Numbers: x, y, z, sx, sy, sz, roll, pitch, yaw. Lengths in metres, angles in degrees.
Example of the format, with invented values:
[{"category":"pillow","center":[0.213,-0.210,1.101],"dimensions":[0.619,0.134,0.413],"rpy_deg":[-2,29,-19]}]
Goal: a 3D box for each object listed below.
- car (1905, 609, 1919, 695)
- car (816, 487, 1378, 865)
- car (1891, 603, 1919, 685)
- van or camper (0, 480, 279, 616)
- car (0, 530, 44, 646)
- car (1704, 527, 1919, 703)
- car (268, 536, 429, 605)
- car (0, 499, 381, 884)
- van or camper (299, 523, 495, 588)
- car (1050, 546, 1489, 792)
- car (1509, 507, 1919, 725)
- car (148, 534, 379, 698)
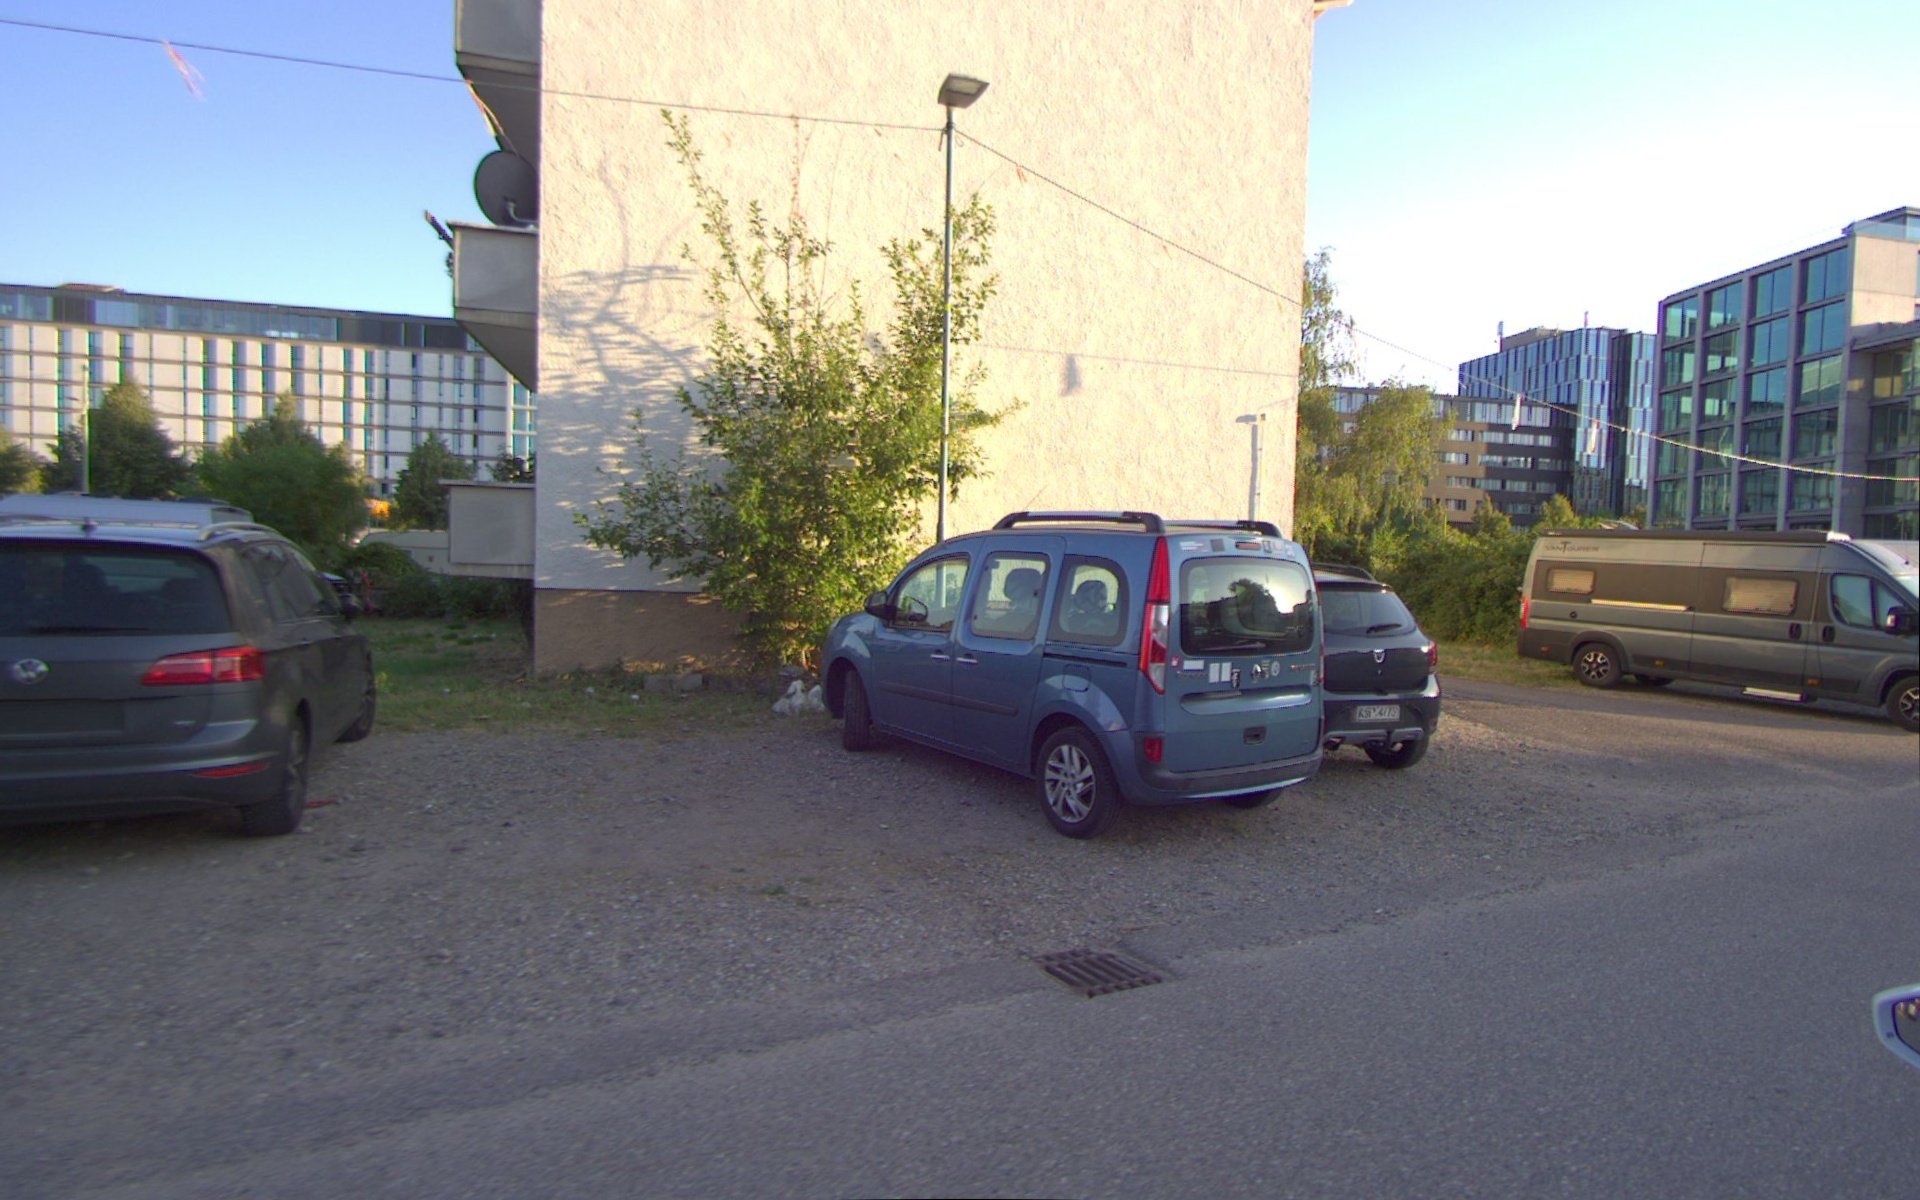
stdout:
[{"category":"car","center":[18.613,1.017,16.622],"dimensions":[1.764,1.527,3.916],"rpy_deg":[2,2,-23]},{"category":"car","center":[0.676,0.271,7.215],"dimensions":[1.731,1.937,3.897],"rpy_deg":[0,4,-36]},{"category":"car","center":[20.495,0.979,18.939],"dimensions":[1.724,1.612,3.915],"rpy_deg":[3,1,-23]},{"category":"van or camper","center":[-16.922,-1.001,19.675],"dimensions":[5.587,2.425,1.844],"rpy_deg":[2,1,-14]},{"category":"car","center":[-15.699,-0.225,13.764],"dimensions":[4.243,1.653,1.844],"rpy_deg":[2,1,-14]},{"category":"car","center":[15.947,0.242,16.324],"dimensions":[2.023,2.750,5.806],"rpy_deg":[1,3,-25]},{"category":"car","center":[-19.443,-0.923,32.116],"dimensions":[3.931,2.041,1.995],"rpy_deg":[1,1,-13]},{"category":"car","center":[-4.607,0.323,6.045],"dimensions":[1.621,1.601,3.912],"rpy_deg":[0,2,-25]},{"category":"van or camper","center":[-19.133,-1.463,34.384],"dimensions":[5.502,2.021,1.842],"rpy_deg":[1,0,-14]},{"category":"car","center":[2.475,0.405,9.140],"dimensions":[1.722,1.674,3.918],"rpy_deg":[1,3,-21]},{"category":"car","center":[12.020,0.099,15.039],"dimensions":[2.089,2.749,6.355],"rpy_deg":[2,3,-30]},{"category":"car","center":[-8.012,0.100,11.912],"dimensions":[1.621,1.601,3.912],"rpy_deg":[0,2,-25]}]
